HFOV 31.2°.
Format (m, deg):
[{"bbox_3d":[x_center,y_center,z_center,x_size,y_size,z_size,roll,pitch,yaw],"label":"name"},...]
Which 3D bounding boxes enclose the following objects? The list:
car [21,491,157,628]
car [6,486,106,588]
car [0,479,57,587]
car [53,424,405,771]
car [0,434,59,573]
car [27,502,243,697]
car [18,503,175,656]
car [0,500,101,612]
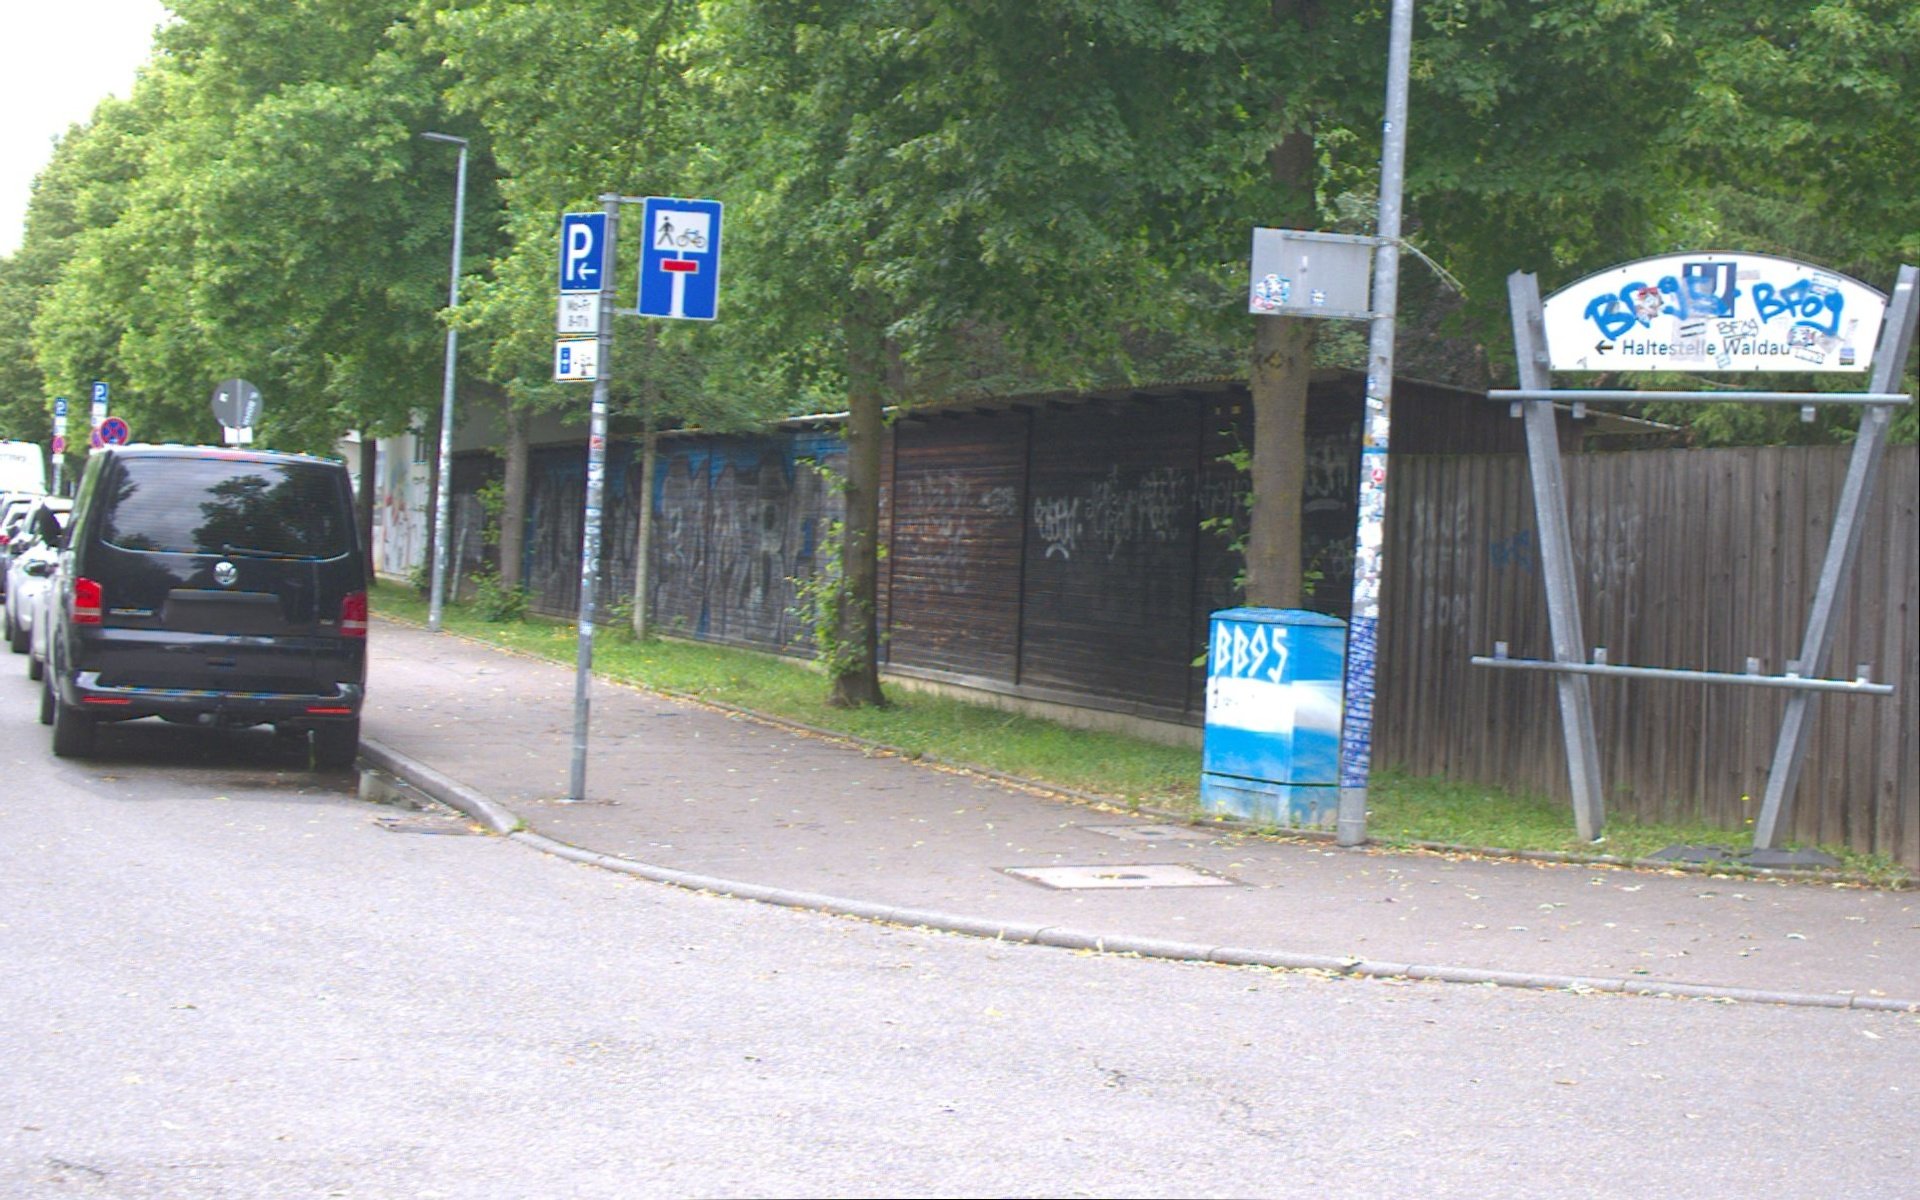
[{"bbox_3d":[-10.375,-0.504,40.916,1.468,1.526,3.190,2,1,-15],"label":"car"},{"bbox_3d":[-14.420,-1.011,54.861,1.468,1.526,3.190,2,1,-15],"label":"car"},{"bbox_3d":[-17.845,-1.287,64.895,1.468,1.961,3.190,2,1,-15],"label":"car"},{"bbox_3d":[-4.842,-0.051,22.384,1.987,2.007,4.109,2,1,-15],"label":"car"},{"bbox_3d":[-21.563,-2.191,77.829,2.183,3.005,4.899,2,1,-15],"label":"car"},{"bbox_3d":[-6.879,-0.039,28.531,1.596,1.476,3.522,2,1,-15],"label":"car"},{"bbox_3d":[-8.975,-0.236,35.694,1.468,1.476,3.190,2,1,-15],"label":"car"},{"bbox_3d":[-13.153,-0.655,49.447,1.468,1.526,3.190,2,1,-15],"label":"car"}]
